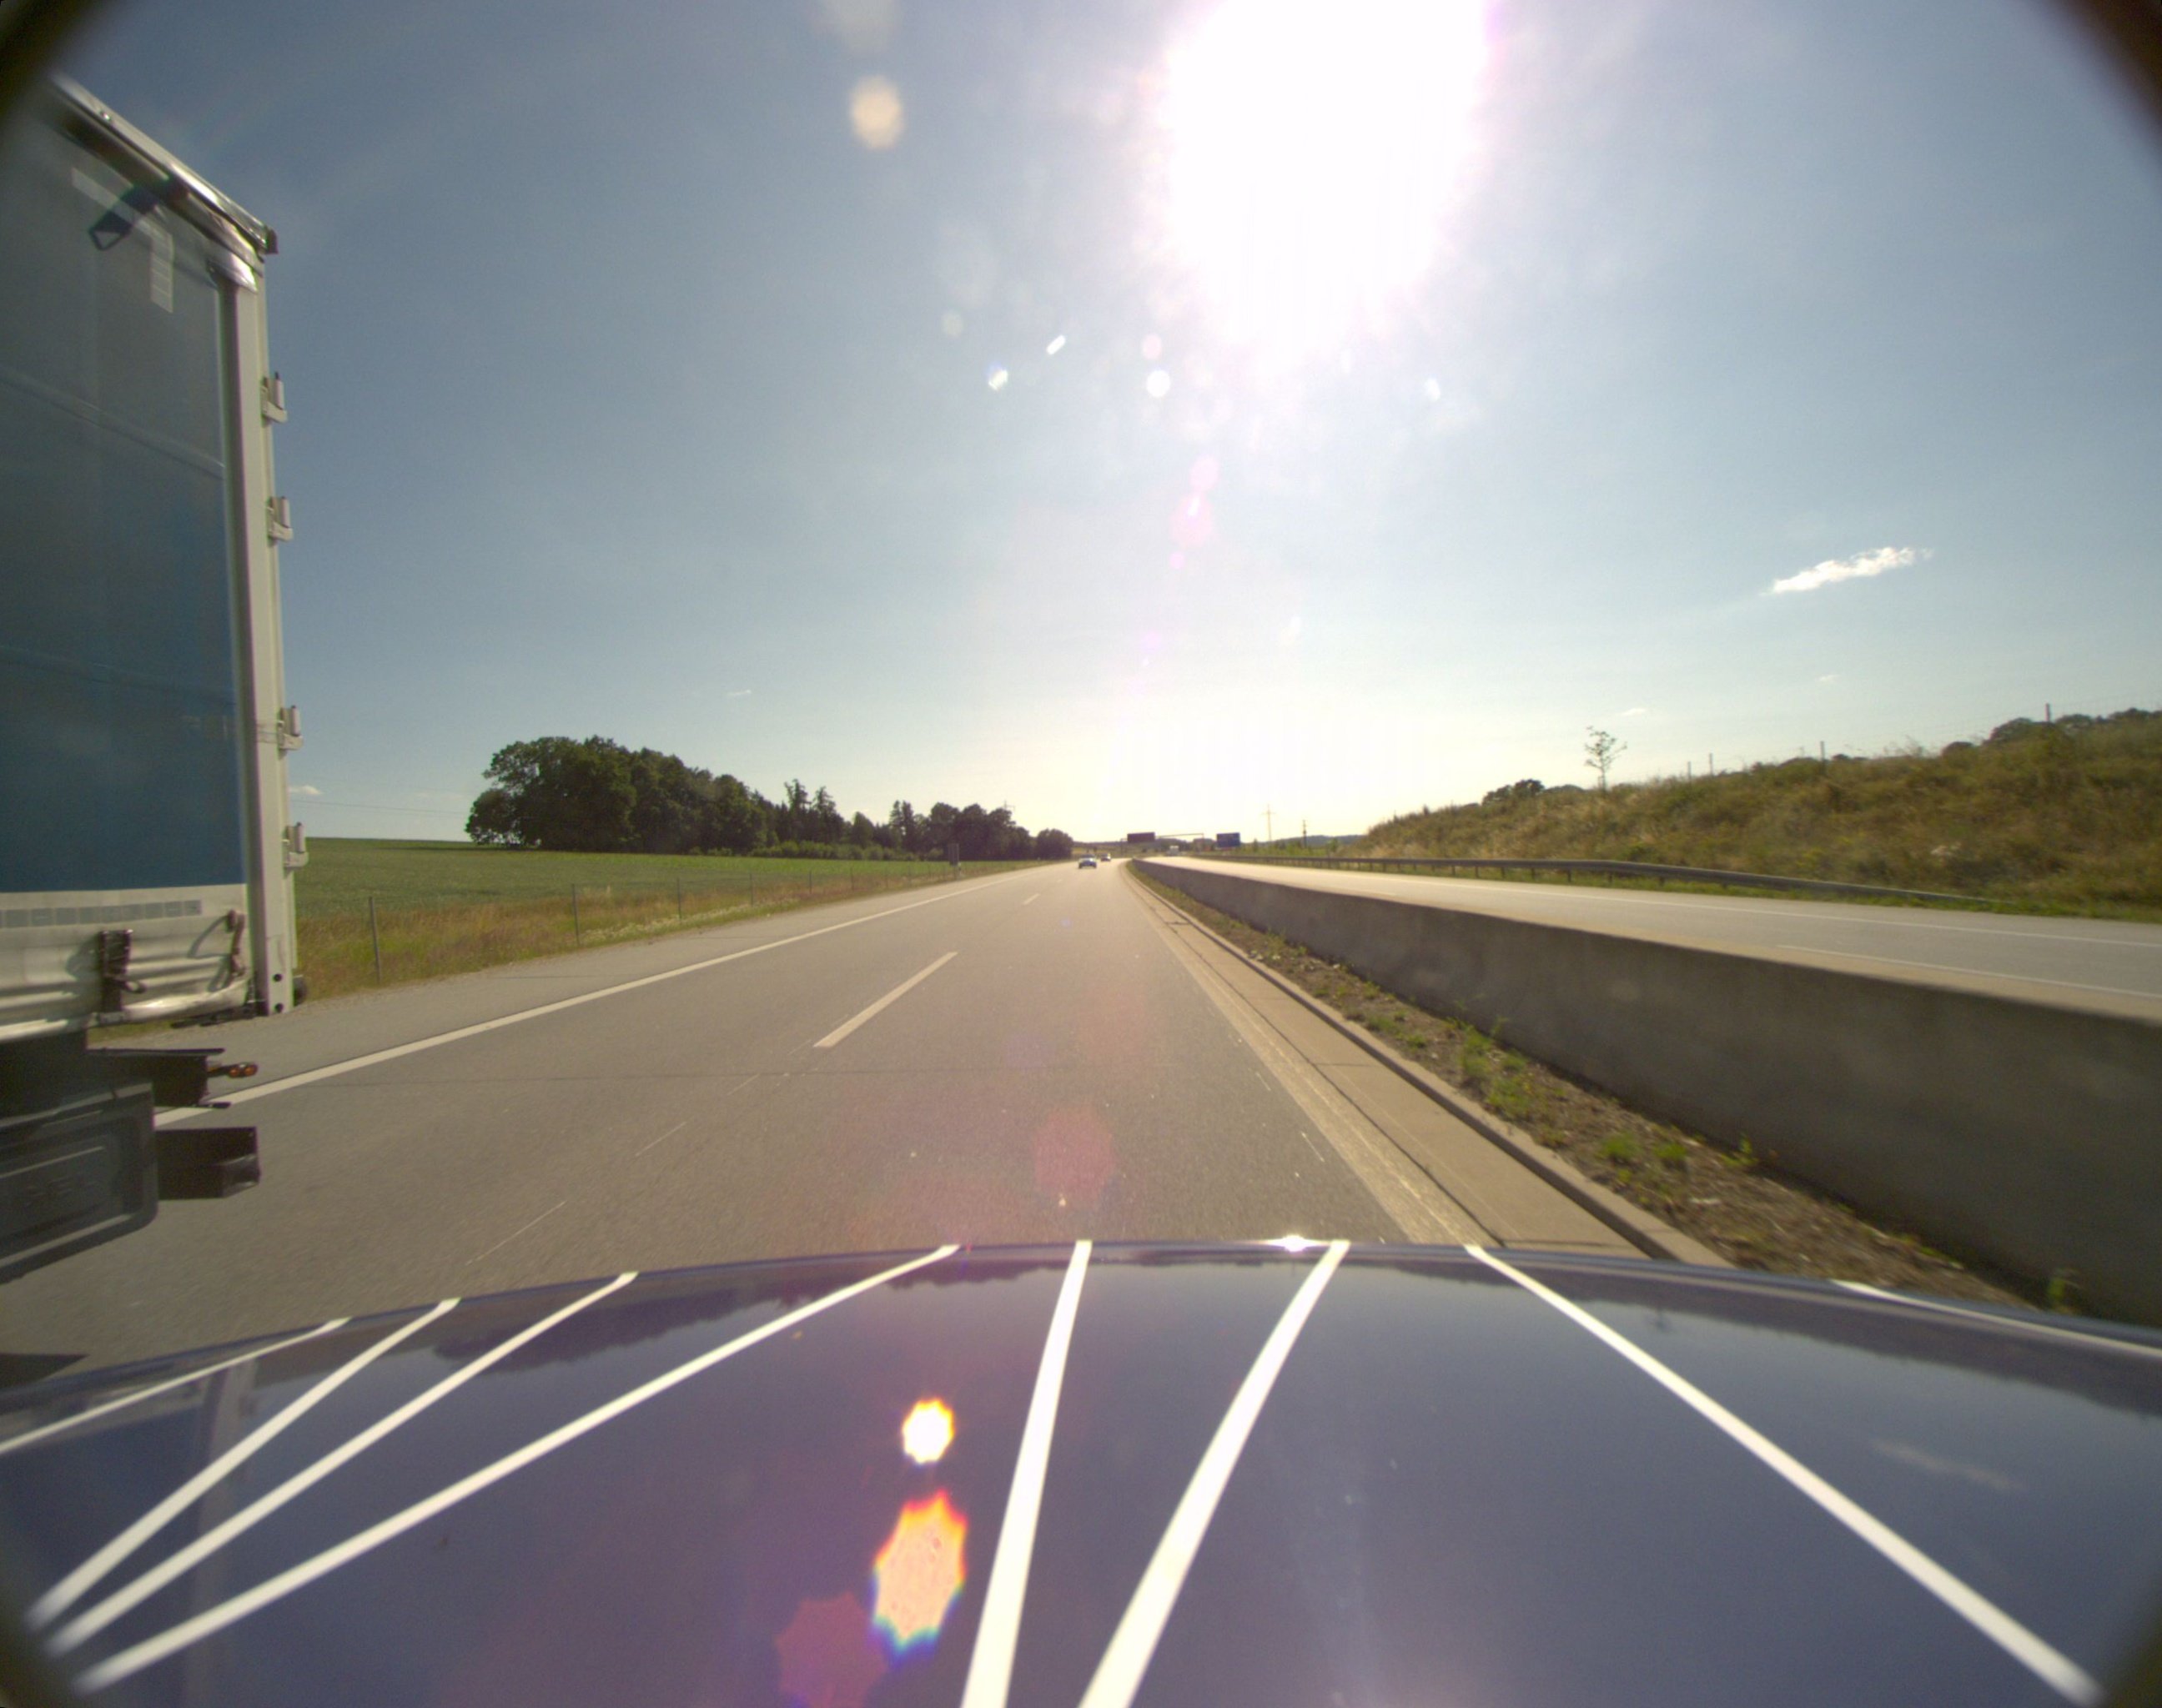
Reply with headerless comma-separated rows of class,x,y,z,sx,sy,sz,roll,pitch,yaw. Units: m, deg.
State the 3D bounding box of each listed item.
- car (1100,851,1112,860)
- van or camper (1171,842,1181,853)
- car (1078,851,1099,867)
car,4.517,0.217,135.985,1.891,1.565,3.793,-1,0,5
van or camper,27.767,-1.918,222.655,2.596,3.062,7.440,-2,0,6
car,0.769,0.486,80.098,1.891,1.565,3.793,-2,0,5
